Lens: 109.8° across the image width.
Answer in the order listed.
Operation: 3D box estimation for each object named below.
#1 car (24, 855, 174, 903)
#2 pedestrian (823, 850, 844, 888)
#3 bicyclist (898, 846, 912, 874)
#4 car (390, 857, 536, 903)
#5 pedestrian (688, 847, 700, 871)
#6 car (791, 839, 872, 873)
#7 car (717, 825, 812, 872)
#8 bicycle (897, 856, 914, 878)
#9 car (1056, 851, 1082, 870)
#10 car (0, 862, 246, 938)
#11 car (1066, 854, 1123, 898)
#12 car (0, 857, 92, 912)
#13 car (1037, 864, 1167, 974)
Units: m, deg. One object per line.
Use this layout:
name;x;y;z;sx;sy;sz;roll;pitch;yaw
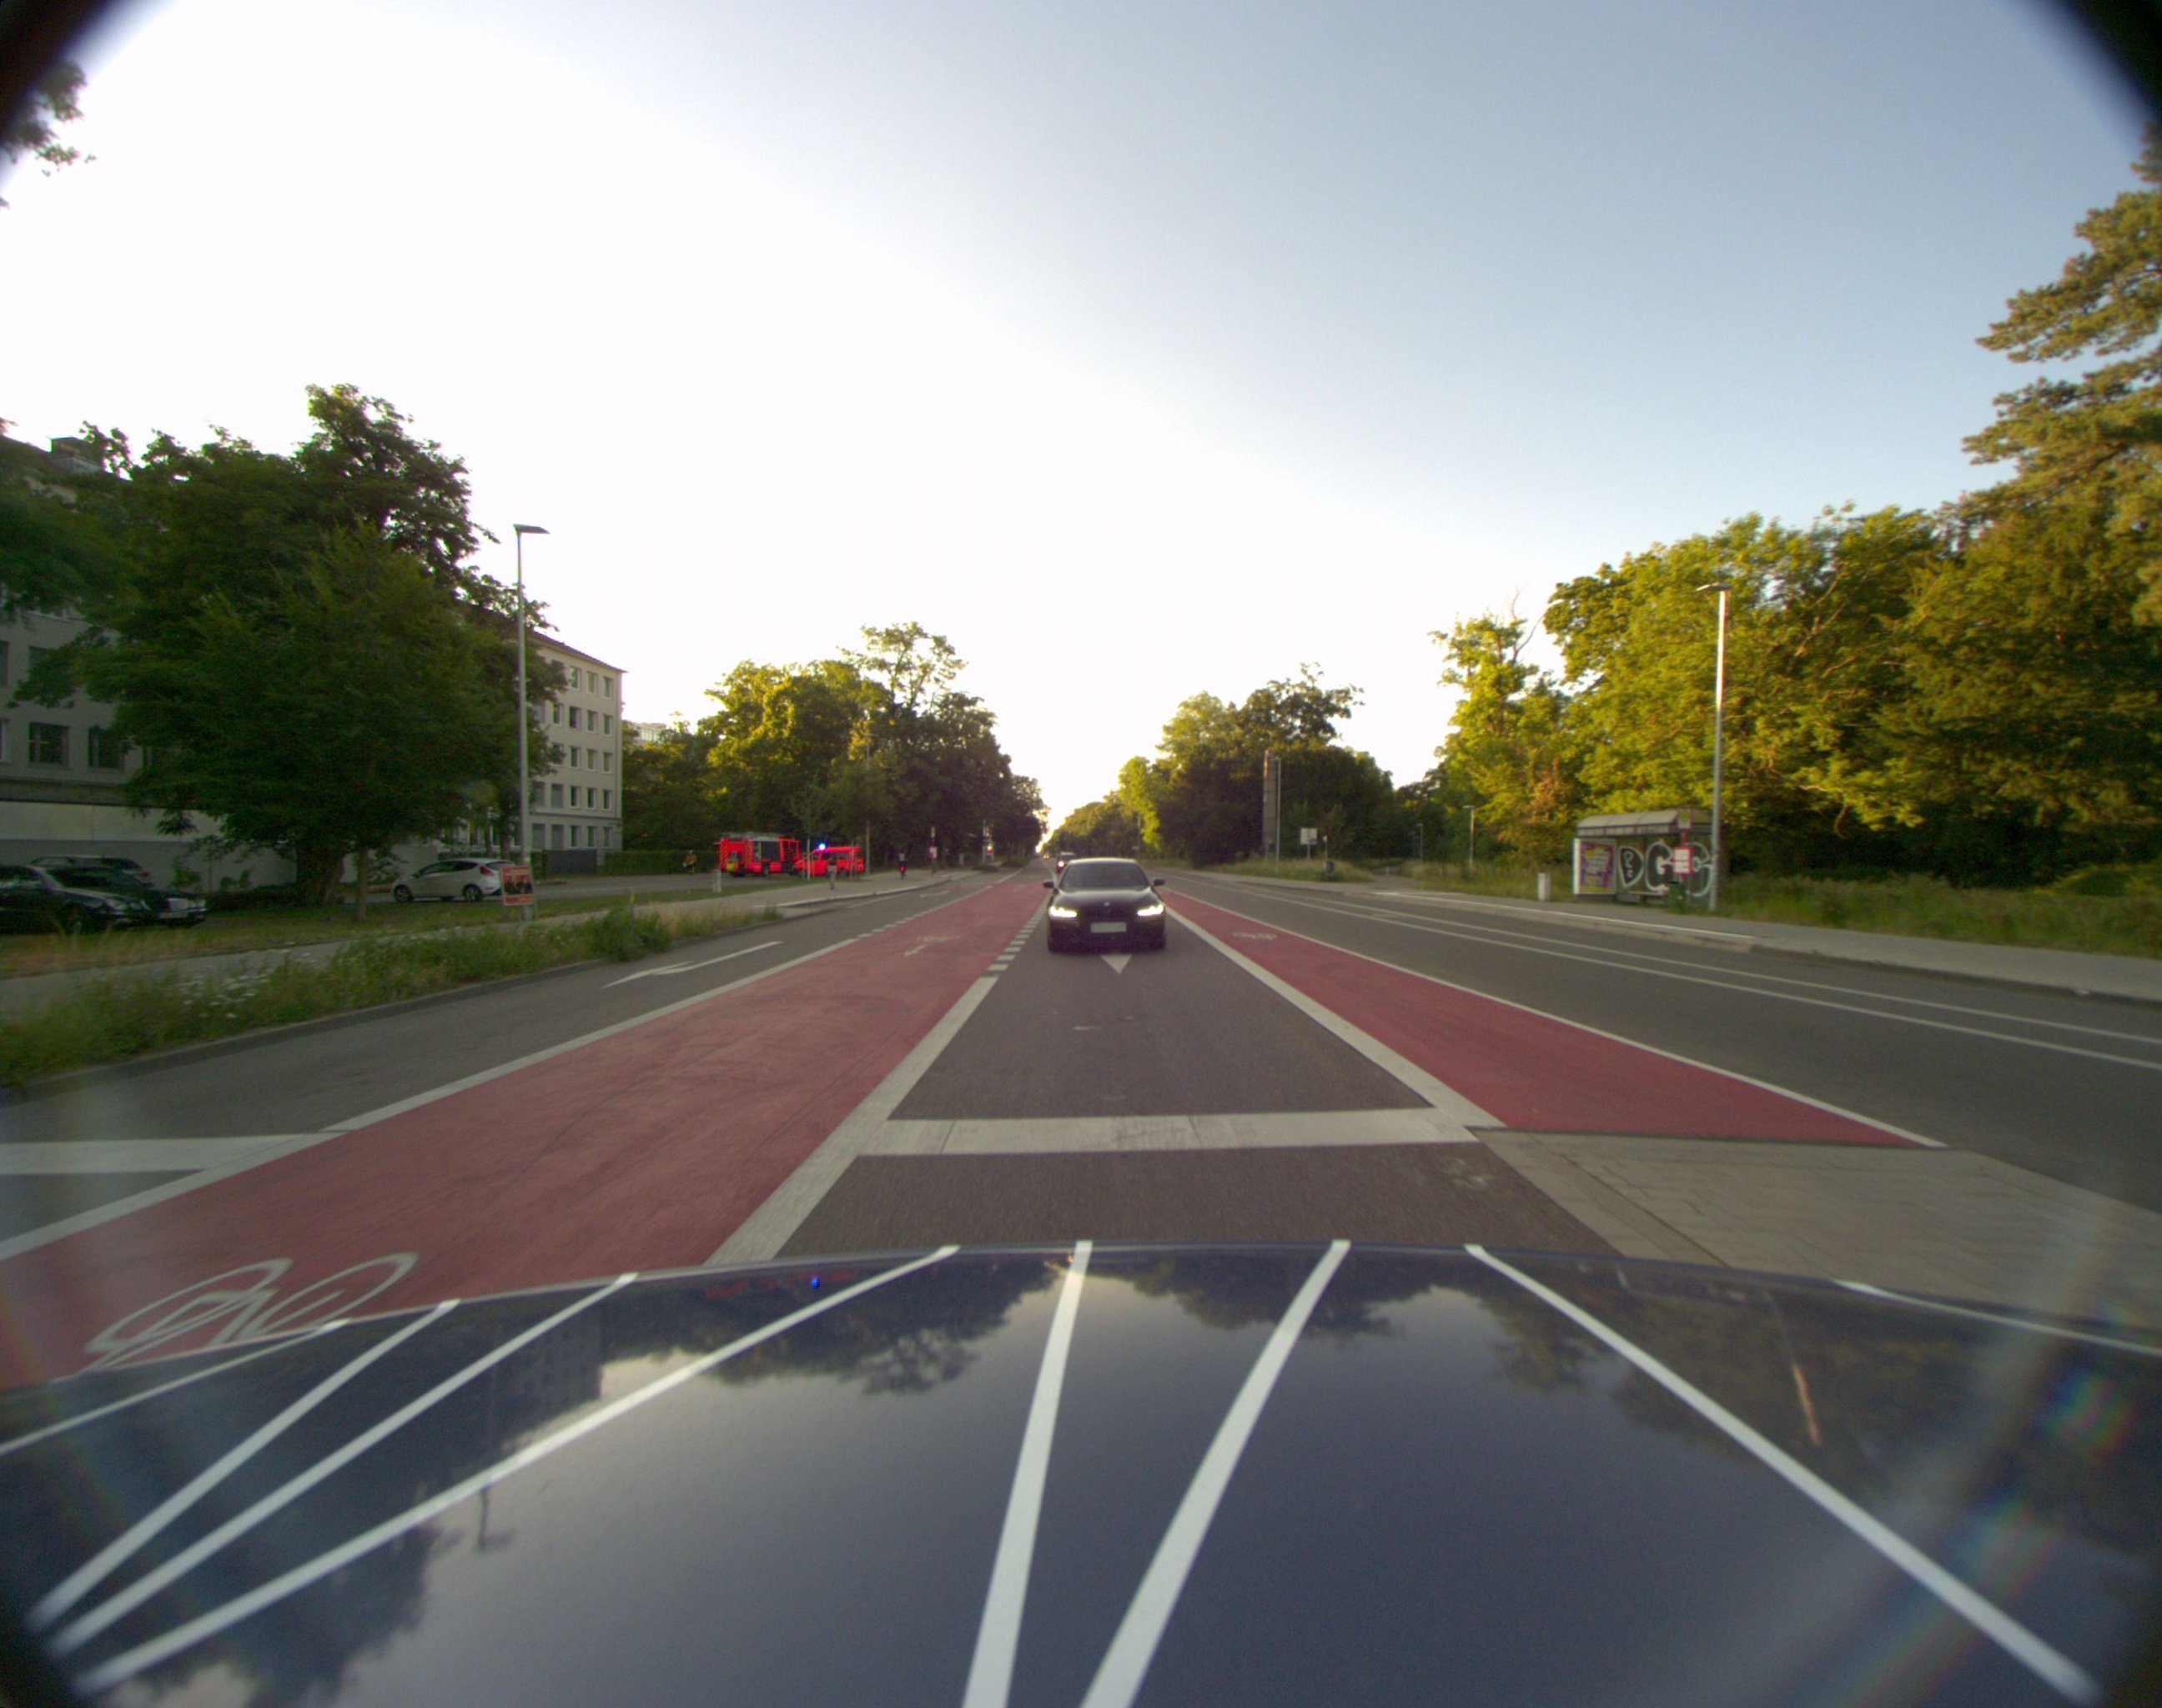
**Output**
car;-32.198;0.791;24.951;3.308;1.451;1.772;0;1;13
pedestrian;-10.747;0.641;33.008;0.682;1.613;0.688;0;1;1
bicyclist;-10.253;0.330;44.374;0.571;1.623;1.038;0;1;1
car;-20.736;0.836;25.583;3.662;1.451;1.665;0;1;5
pedestrian;-29.683;0.398;58.246;0.684;1.831;0.843;0;1;-34
car;-17.851;0.119;54.511;5.164;2.379;2.000;0;1;3
car;-23.531;-0.424;57.037;2.770;3.225;8.301;0;1;7
bicycle;-10.254;0.733;44.446;0.571;1.233;1.899;0;1;1
car;-1.046;0.497;64.164;1.851;1.473;4.701;-2;1;-4
car;-21.126;0.930;16.268;4.515;1.455;1.919;0;1;3
car;0.398;0.747;27.703;1.850;1.346;4.702;-2;1;-1
car;-32.365;0.855;22.623;3.911;1.513;1.919;0;1;9
car;0.355;0.970;13.447;1.818;1.391;5.213;-2;1;1
